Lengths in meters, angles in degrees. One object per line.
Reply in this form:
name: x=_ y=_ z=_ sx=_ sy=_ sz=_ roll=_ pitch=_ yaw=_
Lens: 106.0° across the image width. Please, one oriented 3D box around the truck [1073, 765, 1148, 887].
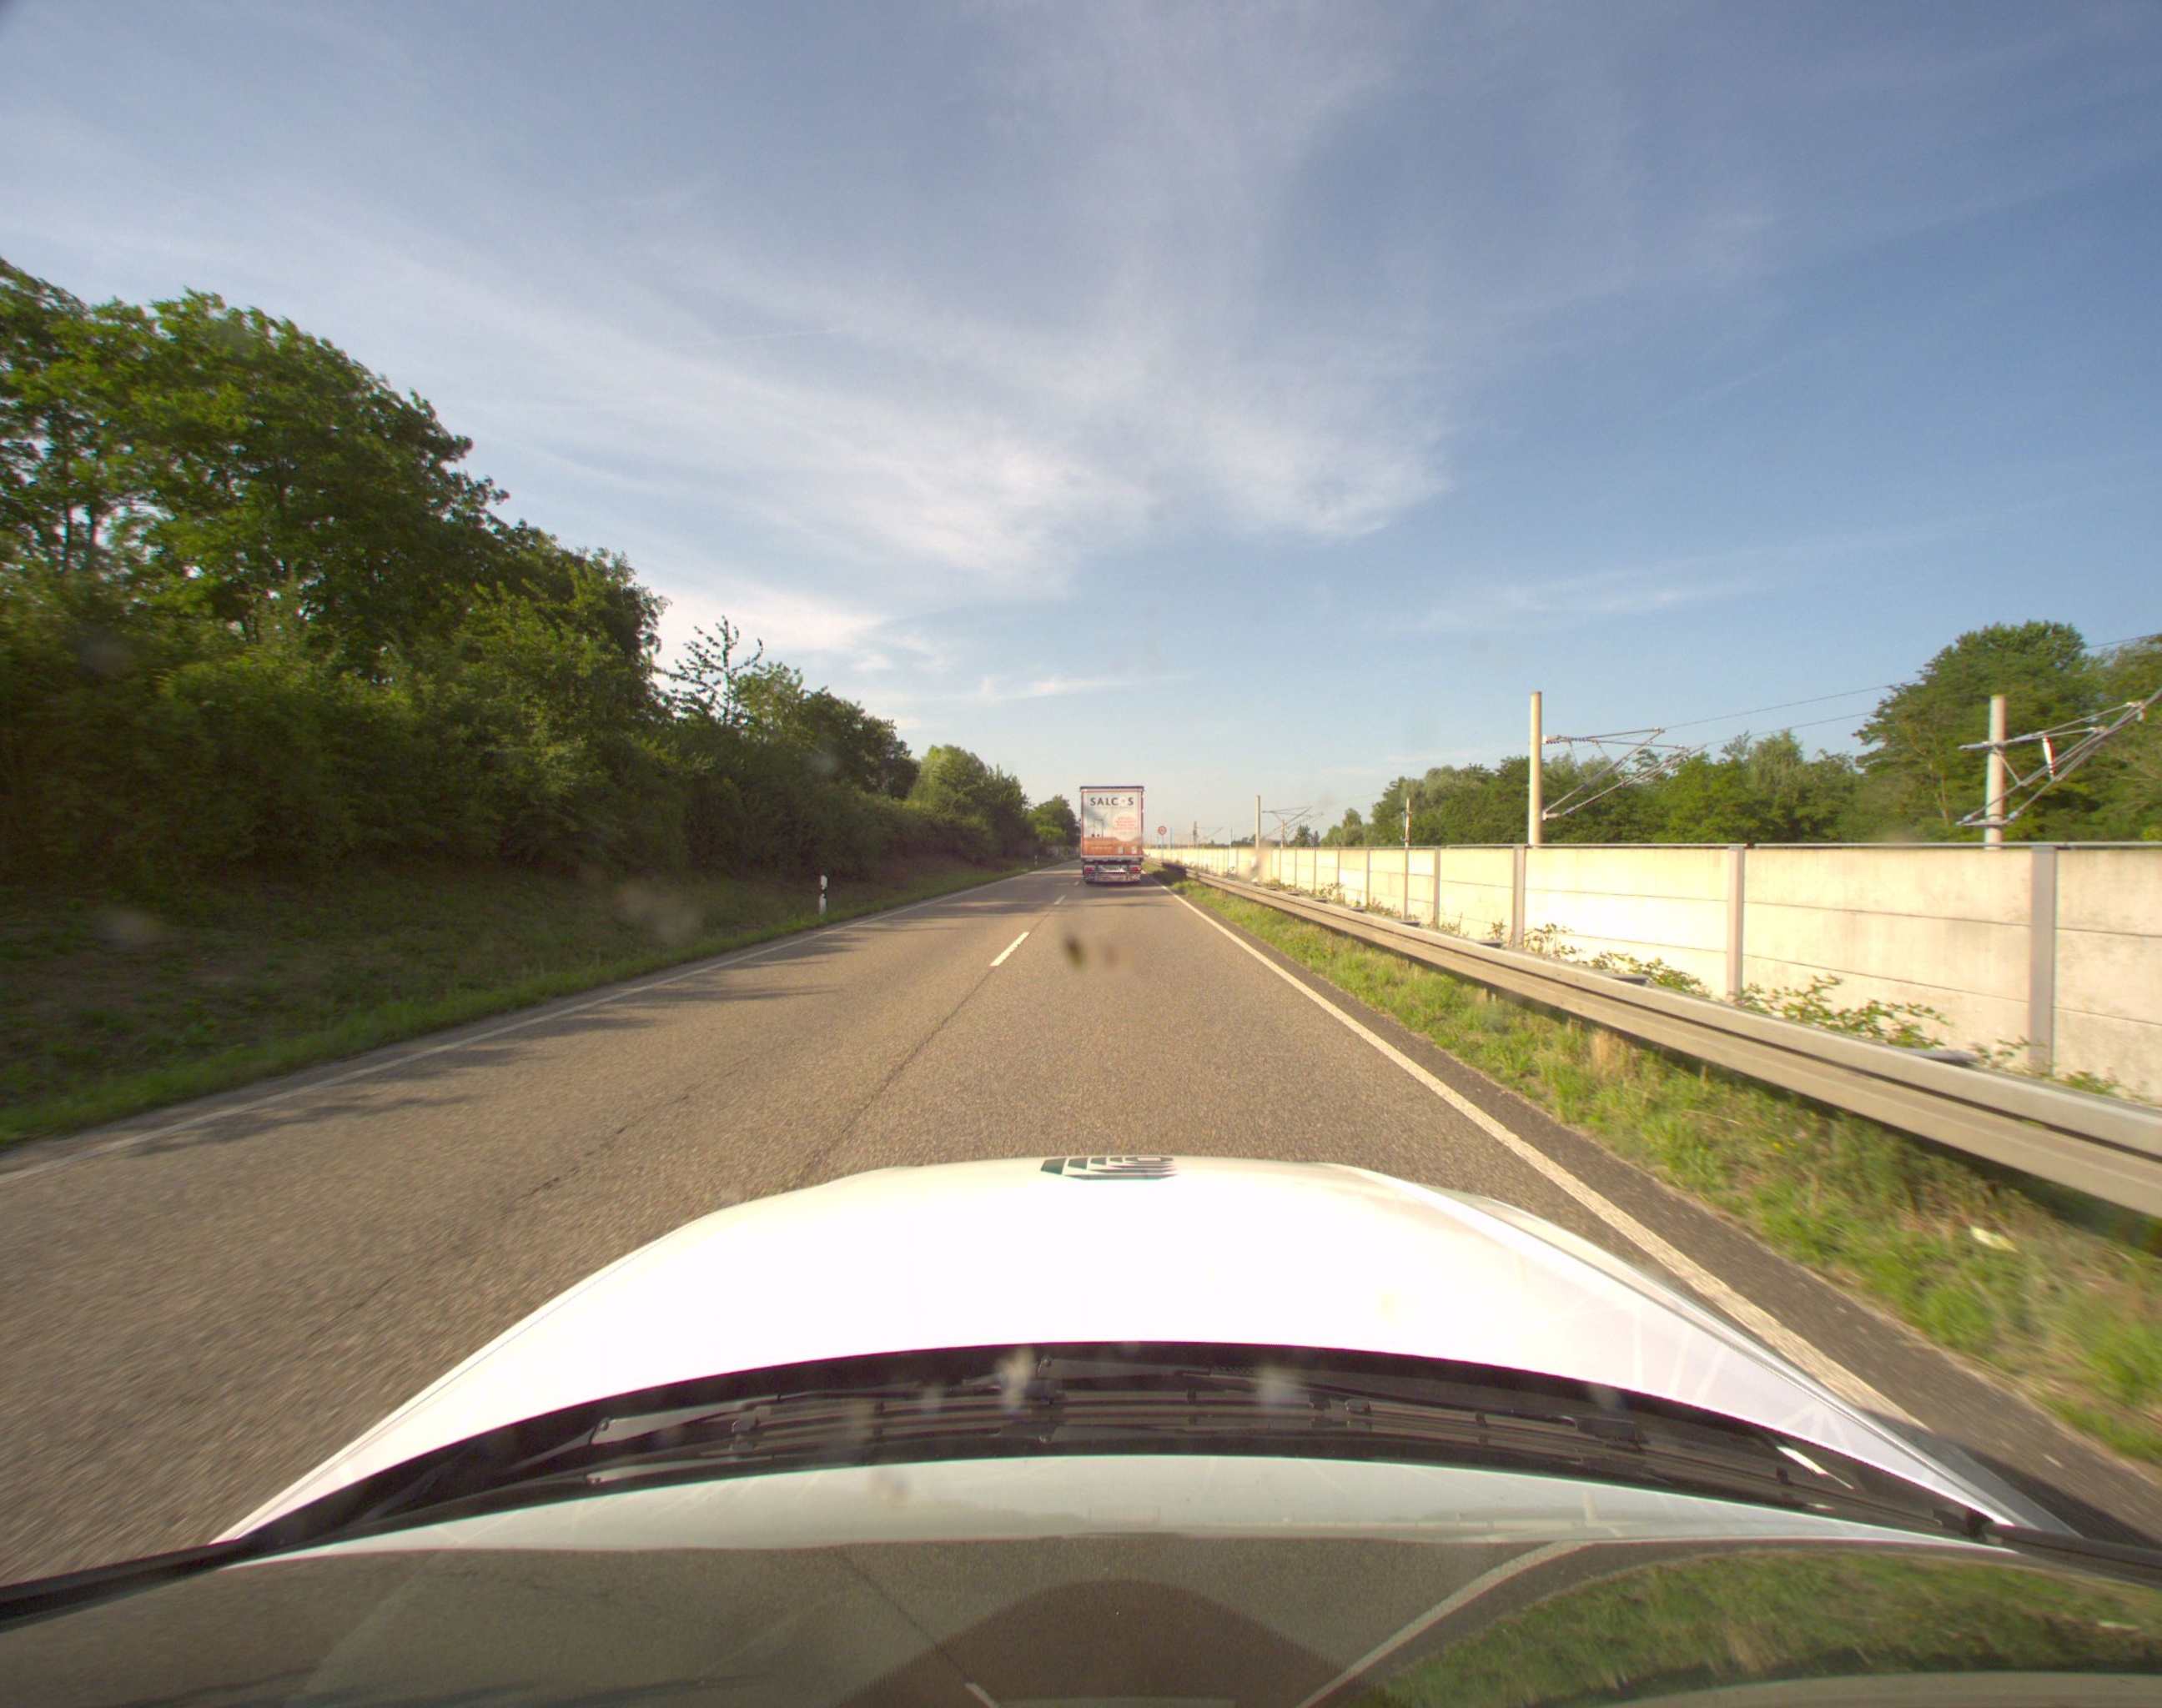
truck: x=1.292 y=-1.177 z=38.756 sx=3.022 sy=4.920 sz=11.686 roll=-1 pitch=0 yaw=1
